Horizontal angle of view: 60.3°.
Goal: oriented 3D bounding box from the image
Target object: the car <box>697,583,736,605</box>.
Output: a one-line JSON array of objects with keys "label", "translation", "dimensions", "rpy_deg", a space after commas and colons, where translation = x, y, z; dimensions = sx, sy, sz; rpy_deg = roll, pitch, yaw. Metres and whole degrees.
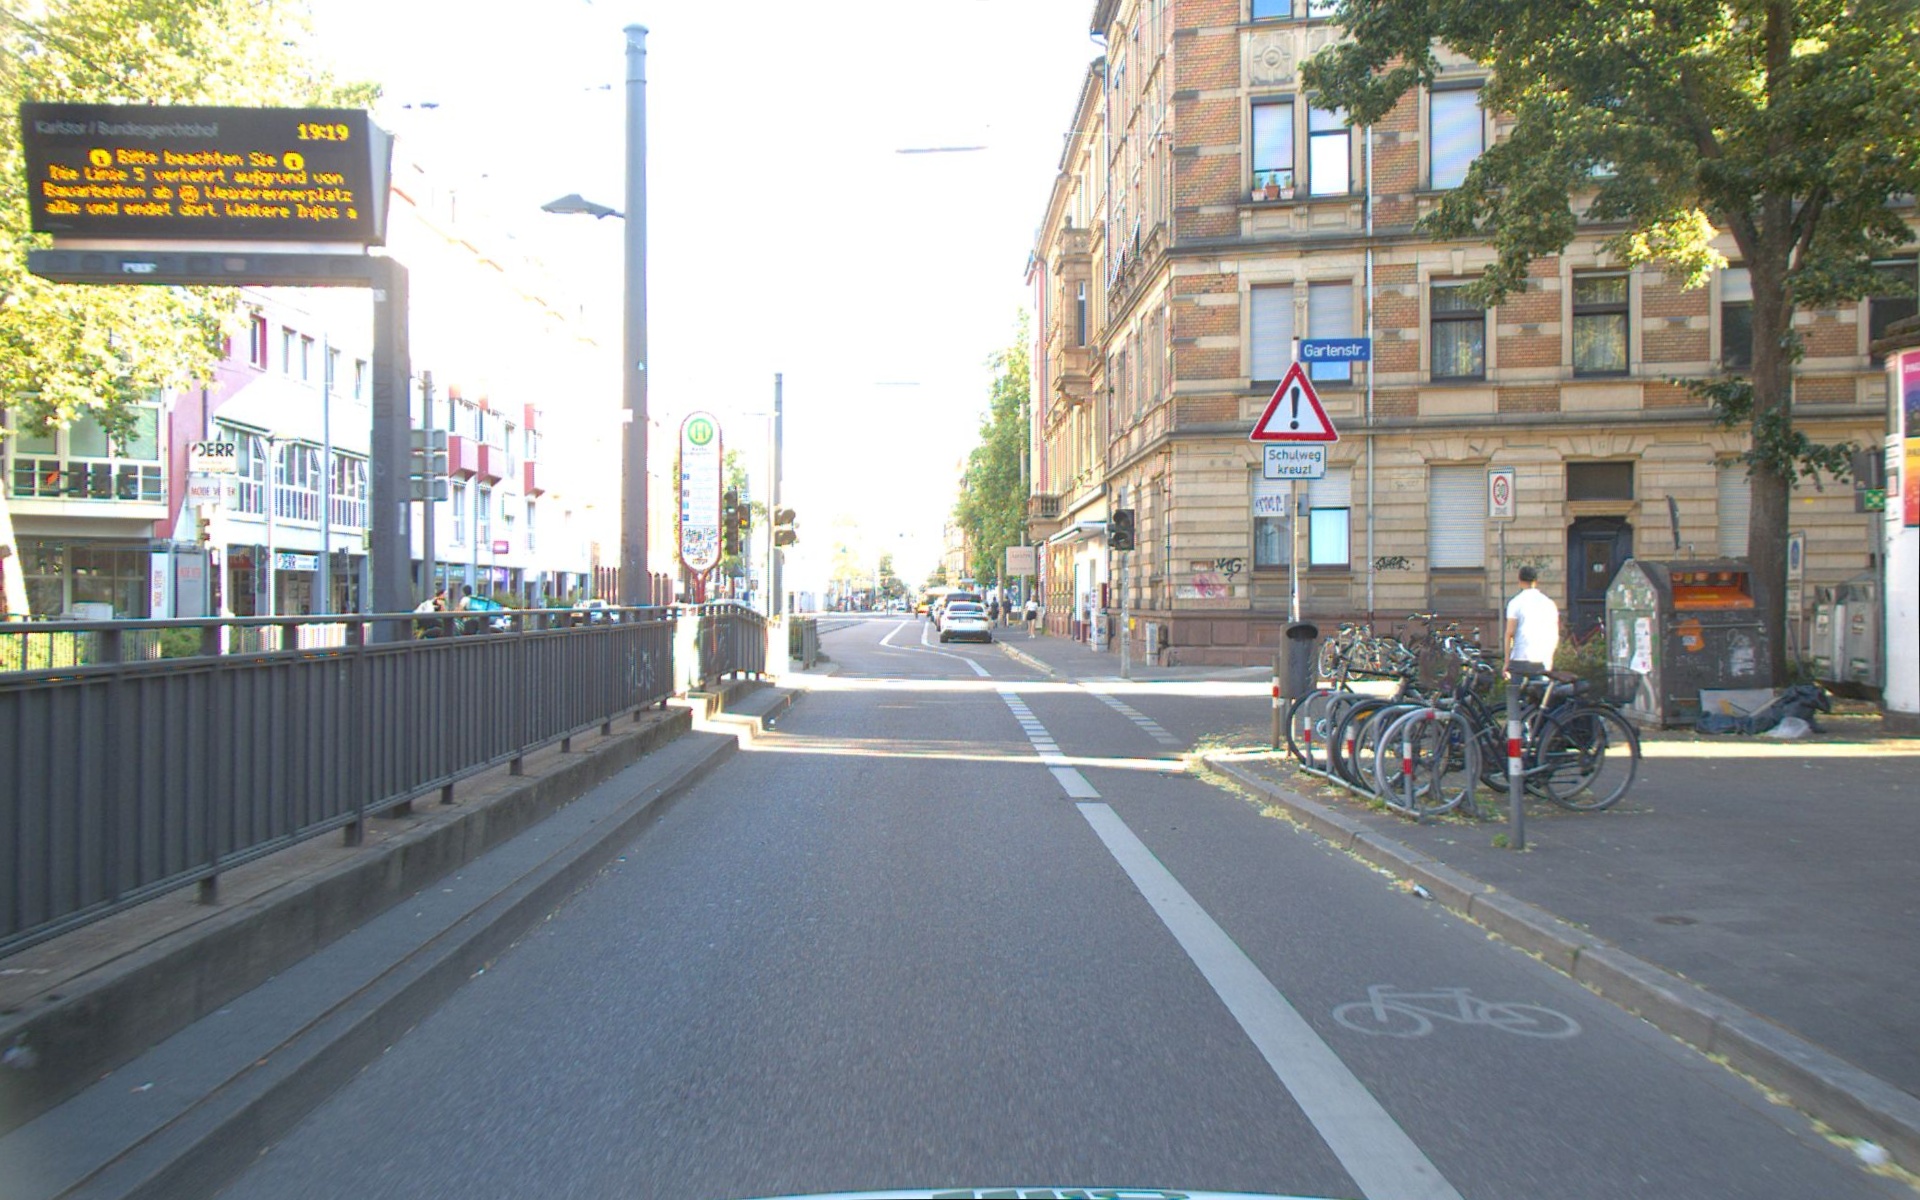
[{"label": "car", "translation": [-25.897, -0.649, 175.839], "dimensions": [3.791, 1.655, 1.875], "rpy_deg": [-3, -14, -2]}]

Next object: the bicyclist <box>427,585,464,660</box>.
[{"label": "bicyclist", "translation": [-11.109, 0.483, 35.713], "dimensions": [0.733, 1.606, 0.530], "rpy_deg": [0, 0, -22]}]

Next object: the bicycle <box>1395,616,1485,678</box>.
[{"label": "bicycle", "translation": [8.554, 0.820, 29.543], "dimensions": [0.488, 1.042, 1.895], "rpy_deg": [0, 0, -22]}]

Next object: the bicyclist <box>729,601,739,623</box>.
[{"label": "bicyclist", "translation": [-18.365, 1.004, 134.397], "dimensions": [0.563, 1.742, 0.741], "rpy_deg": [-2, -1, -19]}]

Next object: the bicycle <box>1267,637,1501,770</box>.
[{"label": "bicycle", "translation": [3.574, 0.863, 14.028], "dimensions": [1.798, 1.072, 0.710], "rpy_deg": [0, 0, -5]}]

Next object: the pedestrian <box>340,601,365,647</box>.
[{"label": "pedestrian", "translation": [-23.053, 0.900, 62.748], "dimensions": [0.728, 1.742, 0.615], "rpy_deg": [0, 0, -5]}]

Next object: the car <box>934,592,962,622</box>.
[{"label": "car", "translation": [-0.846, 0.485, 119.105], "dimensions": [1.931, 2.049, 4.557], "rpy_deg": [-1, 0, 0]}]

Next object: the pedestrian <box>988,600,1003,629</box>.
[{"label": "pedestrian", "translation": [2.019, 0.820, 94.692], "dimensions": [0.760, 1.594, 0.913], "rpy_deg": [-3, 0, 0]}]

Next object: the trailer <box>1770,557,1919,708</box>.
[{"label": "trailer", "translation": [11.995, 0.368, 21.268], "dimensions": [1.924, 1.762, 3.936], "rpy_deg": [-1, 0, 12]}]

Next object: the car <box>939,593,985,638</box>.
[{"label": "car", "translation": [0.075, 0.678, 73.363], "dimensions": [1.915, 1.901, 4.988], "rpy_deg": [1, 0, 0]}]

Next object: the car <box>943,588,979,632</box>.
[{"label": "car", "translation": [0.071, 0.531, 84.004], "dimensions": [1.670, 2.157, 3.707], "rpy_deg": [1, -1, 1]}]

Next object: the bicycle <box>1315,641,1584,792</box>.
[{"label": "bicycle", "translation": [3.634, 0.855, 12.355], "dimensions": [1.798, 1.072, 0.717], "rpy_deg": [0, 0, -5]}]

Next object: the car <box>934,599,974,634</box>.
[{"label": "car", "translation": [-0.373, 0.889, 89.458], "dimensions": [1.910, 1.819, 5.178], "rpy_deg": [2, -1, -2]}]

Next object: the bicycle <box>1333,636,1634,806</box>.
[{"label": "bicycle", "translation": [3.660, 0.831, 11.627], "dimensions": [1.931, 1.124, 0.614], "rpy_deg": [0, 0, -5]}]

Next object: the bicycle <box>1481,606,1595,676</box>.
[{"label": "bicycle", "translation": [10.320, 0.712, 29.600], "dimensions": [0.606, 1.203, 2.088], "rpy_deg": [0, 0, -27]}]

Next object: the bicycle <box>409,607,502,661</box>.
[{"label": "bicycle", "translation": [-10.912, 0.739, 35.778], "dimensions": [1.866, 1.096, 0.580], "rpy_deg": [3, -1, -21]}]

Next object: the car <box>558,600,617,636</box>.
[{"label": "car", "translation": [-18.990, 0.928, 84.604], "dimensions": [2.049, 1.743, 4.816], "rpy_deg": [1, -1, -2]}]

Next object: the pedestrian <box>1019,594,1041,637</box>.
[{"label": "pedestrian", "translation": [2.665, 0.595, 63.165], "dimensions": [0.760, 1.594, 0.914], "rpy_deg": [-3, 0, 1]}]

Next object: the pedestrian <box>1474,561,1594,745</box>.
[{"label": "pedestrian", "translation": [5.463, 0.477, 15.799], "dimensions": [0.767, 1.694, 1.033], "rpy_deg": [0, 1, -1]}]

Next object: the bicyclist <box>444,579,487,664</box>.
[{"label": "bicyclist", "translation": [-10.269, 0.446, 34.363], "dimensions": [0.728, 1.742, 0.534], "rpy_deg": [0, 0, 2]}]

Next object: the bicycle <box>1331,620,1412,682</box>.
[{"label": "bicycle", "translation": [7.300, 0.883, 29.425], "dimensions": [0.410, 1.042, 1.896], "rpy_deg": [0, 0, -20]}]

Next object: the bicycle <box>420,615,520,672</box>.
[{"label": "bicycle", "translation": [-10.185, 0.904, 34.380], "dimensions": [1.855, 1.096, 0.584], "rpy_deg": [3, -1, 0]}]

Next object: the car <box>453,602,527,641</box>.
[{"label": "car", "translation": [-18.564, 0.825, 65.480], "dimensions": [1.832, 1.464, 4.703], "rpy_deg": [1, 0, -4]}]

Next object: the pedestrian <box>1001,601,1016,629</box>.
[{"label": "pedestrian", "translation": [2.783, 0.853, 94.625], "dimensions": [0.760, 1.594, 0.913], "rpy_deg": [-3, 0, 0]}]

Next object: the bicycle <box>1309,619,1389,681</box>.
[{"label": "bicycle", "translation": [6.898, 0.864, 29.416], "dimensions": [0.444, 1.042, 1.896], "rpy_deg": [0, 0, -20]}]

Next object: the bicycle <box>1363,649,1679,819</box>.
[{"label": "bicycle", "translation": [3.694, 0.871, 10.970], "dimensions": [1.875, 1.066, 0.680], "rpy_deg": [0, 0, -5]}]

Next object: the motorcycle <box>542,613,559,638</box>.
[{"label": "motorcycle", "translation": [-20.496, 1.276, 82.696], "dimensions": [0.659, 1.226, 2.130], "rpy_deg": [2, -1, -18]}]

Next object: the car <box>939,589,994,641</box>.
[{"label": "car", "translation": [0.225, 0.550, 61.317], "dimensions": [1.926, 1.802, 4.874], "rpy_deg": [1, -1, 0]}]

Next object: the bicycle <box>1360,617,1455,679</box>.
[{"label": "bicycle", "translation": [7.996, 0.839, 29.621], "dimensions": [0.457, 1.058, 1.889], "rpy_deg": [0, 0, -29]}]

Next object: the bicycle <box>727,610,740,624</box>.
[{"label": "bicycle", "translation": [-18.406, 1.401, 134.506], "dimensions": [0.574, 1.096, 2.172], "rpy_deg": [-2, -1, -20]}]

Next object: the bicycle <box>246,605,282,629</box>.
[{"label": "bicycle", "translation": [-20.355, 0.506, 48.413], "dimensions": [0.447, 0.670, 1.807], "rpy_deg": [2, 0, -6]}]

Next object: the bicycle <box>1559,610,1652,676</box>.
[{"label": "bicycle", "translation": [11.687, 0.763, 30.015], "dimensions": [0.398, 1.143, 1.895], "rpy_deg": [0, 0, -22]}]

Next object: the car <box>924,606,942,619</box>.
[{"label": "car", "translation": [-3.217, 1.480, 197.382], "dimensions": [2.024, 1.413, 4.223], "rpy_deg": [2, 0, -2]}]

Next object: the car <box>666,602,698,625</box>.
[{"label": "car", "translation": [-19.921, 0.943, 118.480], "dimensions": [1.832, 1.628, 4.250], "rpy_deg": [1, 0, -4]}]

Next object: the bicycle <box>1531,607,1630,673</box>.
[{"label": "bicycle", "translation": [11.228, 0.712, 30.003], "dimensions": [0.439, 1.143, 1.941], "rpy_deg": [0, 0, -25]}]

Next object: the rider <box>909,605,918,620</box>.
[{"label": "rider", "translation": [-4.931, 1.317, 174.051], "dimensions": [0.865, 1.507, 0.713], "rpy_deg": [2, -1, -1]}]
